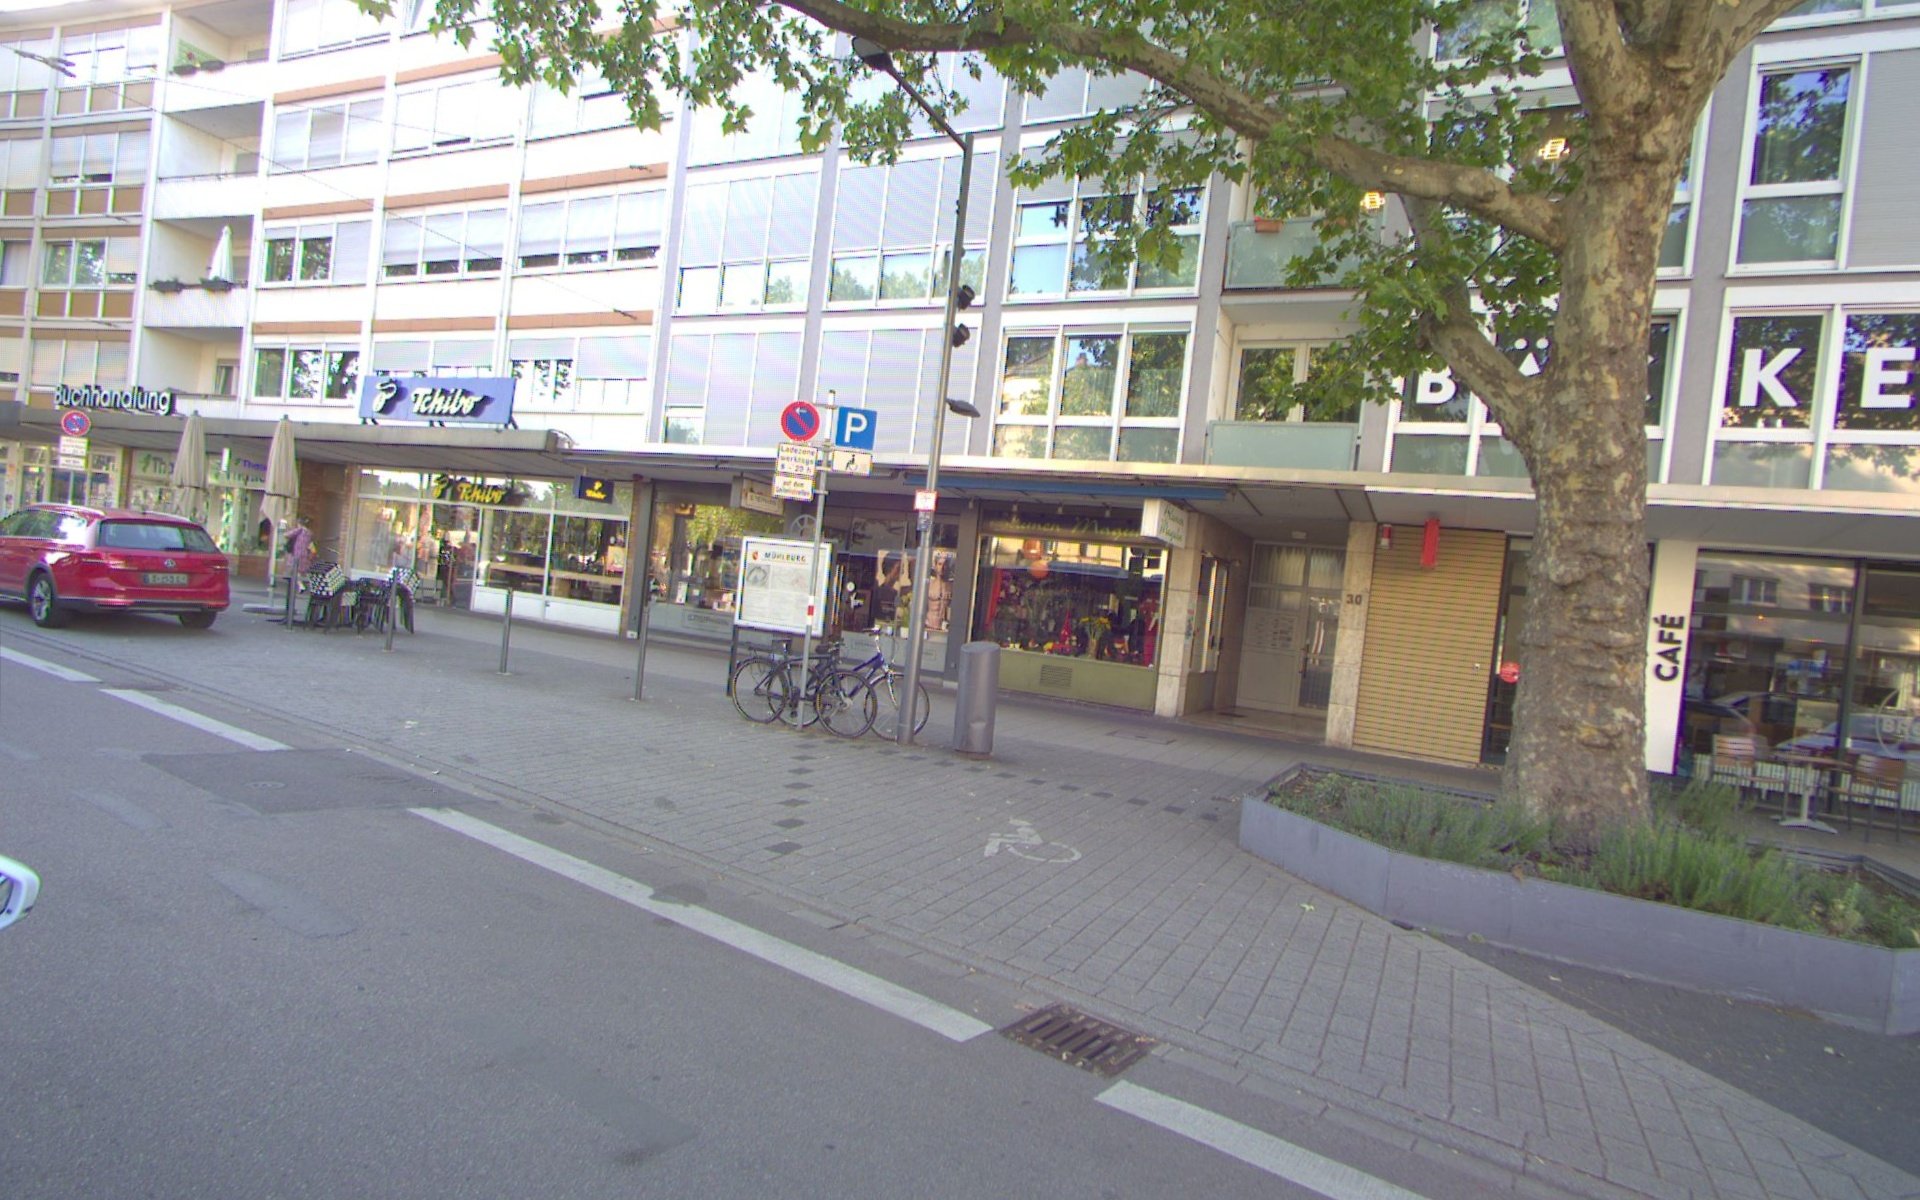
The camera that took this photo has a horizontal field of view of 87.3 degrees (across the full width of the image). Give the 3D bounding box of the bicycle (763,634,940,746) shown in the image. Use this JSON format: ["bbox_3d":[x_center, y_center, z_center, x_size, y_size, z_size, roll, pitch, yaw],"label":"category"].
[{"bbox_3d":[-1.140,0.923,10.560,1.743,0.931,0.391,6,2,12],"label":"bicycle"}]

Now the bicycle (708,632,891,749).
[{"bbox_3d":[-1.634,0.900,10.236,1.743,0.951,0.391,6,2,12],"label":"bicycle"}]

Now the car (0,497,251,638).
[{"bbox_3d":[-11.644,-0.490,13.447,4.229,1.502,1.772,6,1,28],"label":"car"}]

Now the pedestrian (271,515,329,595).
[{"bbox_3d":[-13.991,-0.948,21.320,0.776,1.613,0.651,7,2,26],"label":"pedestrian"}]
